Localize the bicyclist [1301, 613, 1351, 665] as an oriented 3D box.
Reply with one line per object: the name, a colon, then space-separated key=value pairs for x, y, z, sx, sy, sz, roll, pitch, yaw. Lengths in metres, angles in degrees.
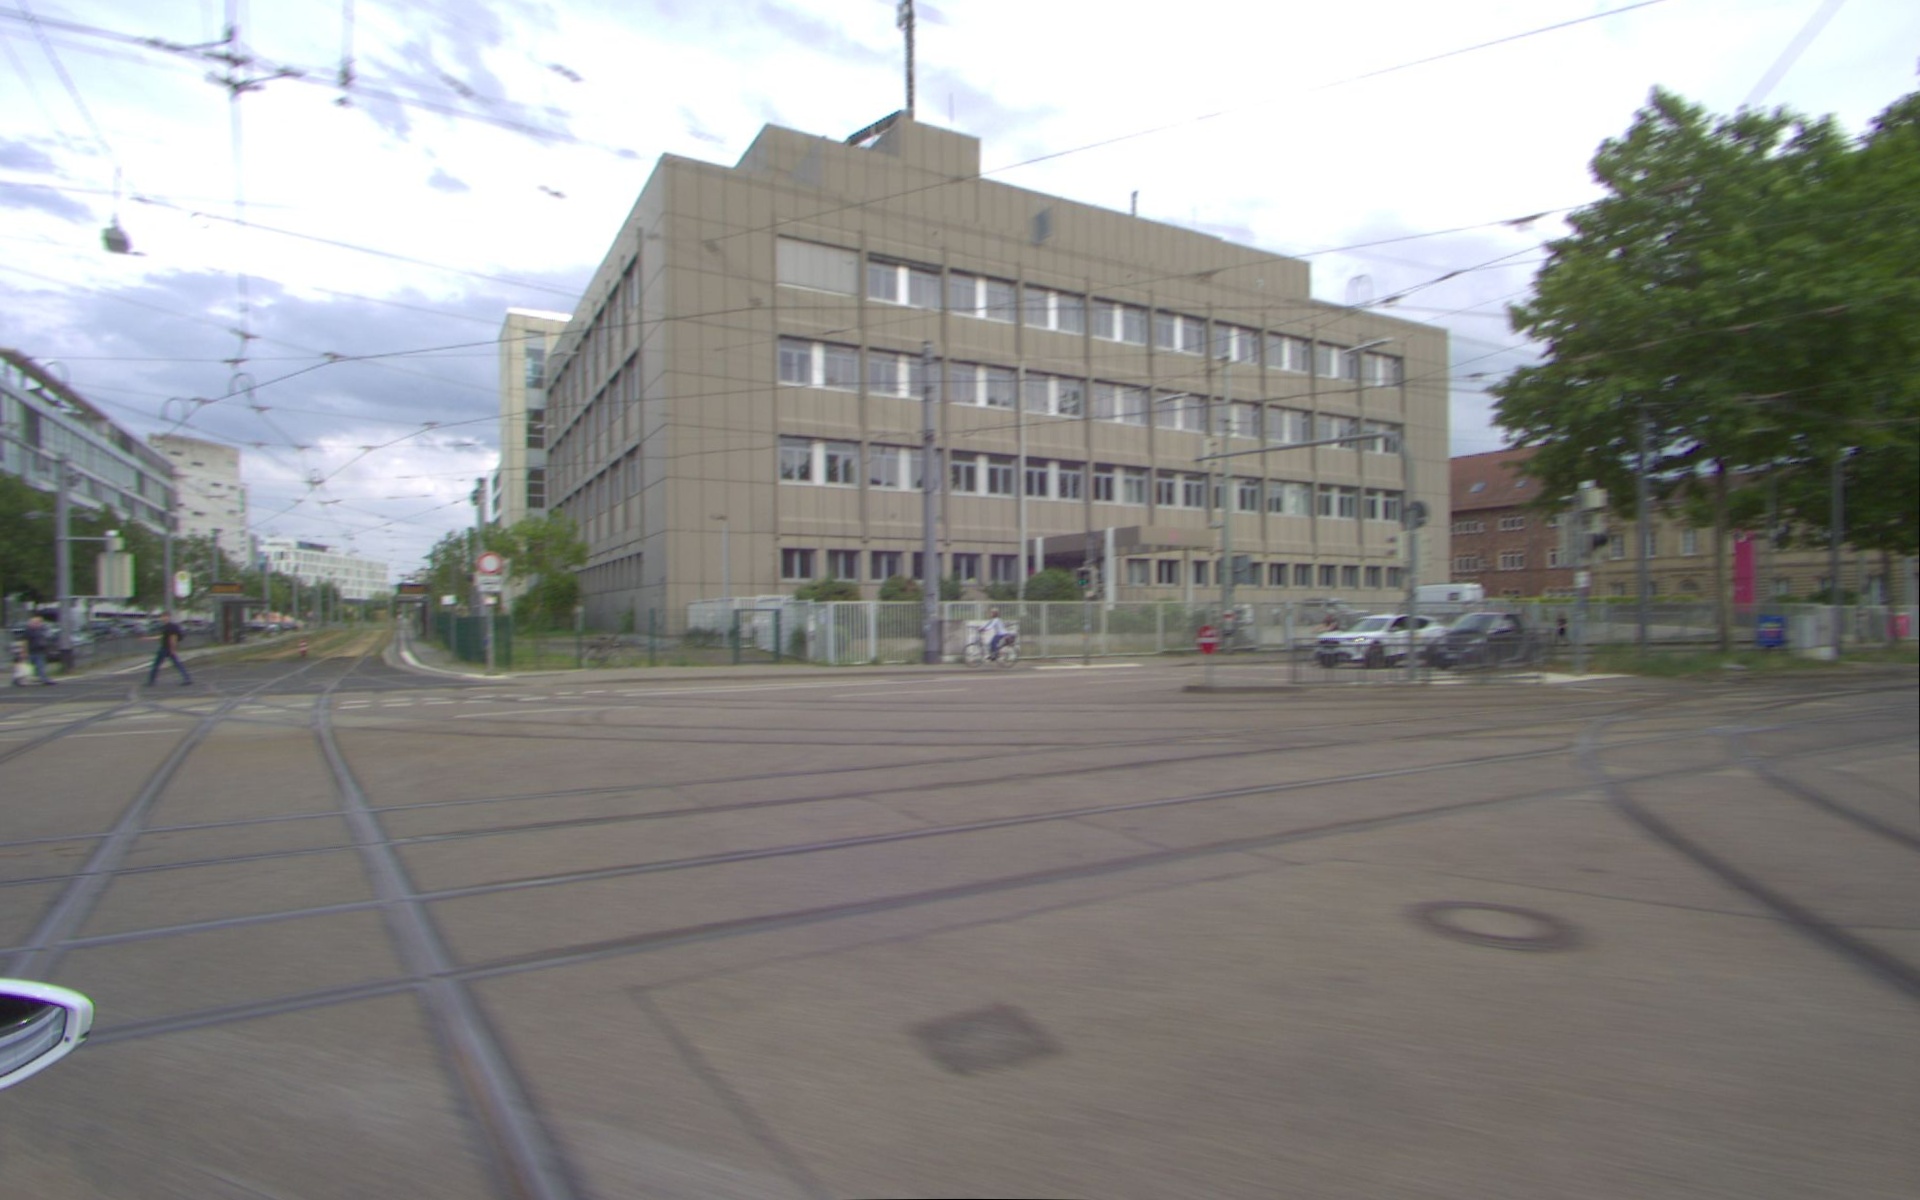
bicyclist: x=11.403 y=1.204 z=31.195 sx=1.308 sy=1.570 sz=0.799 roll=0 pitch=0 yaw=-27

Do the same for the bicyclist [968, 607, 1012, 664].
bicyclist: x=0.910 y=1.074 z=30.465 sx=1.160 sy=1.723 sz=0.802 roll=1 pitch=0 yaw=-12

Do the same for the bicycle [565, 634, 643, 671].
bicycle: x=-10.524 y=1.548 z=29.606 sx=2.119 sy=0.993 sz=0.634 roll=-3 pitch=-1 yaw=14

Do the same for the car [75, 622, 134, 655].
car: x=-44.475 y=1.976 z=52.135 sx=1.850 sy=1.626 sz=4.185 roll=0 pitch=-1 yaw=-34

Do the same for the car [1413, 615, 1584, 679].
car: x=14.385 y=1.200 z=26.740 sx=4.352 sy=1.587 sz=1.830 roll=0 pitch=-1 yaw=-26

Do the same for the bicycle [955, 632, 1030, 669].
bicycle: x=0.985 y=1.541 z=30.481 sx=2.144 sy=1.100 sz=0.802 roll=1 pitch=-1 yaw=-13

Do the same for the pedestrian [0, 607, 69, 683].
pedestrian: x=-23.343 y=1.113 z=25.264 sx=0.974 sy=1.880 sz=0.900 roll=0 pitch=0 yaw=-17

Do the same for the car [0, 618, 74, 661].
car: x=-37.456 y=1.556 z=40.525 sx=1.861 sy=1.649 sz=4.060 roll=0 pitch=-1 yaw=-34

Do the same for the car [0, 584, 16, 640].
car: x=-65.447 y=0.781 z=67.309 sx=1.967 sy=3.683 sz=4.485 roll=2 pitch=-2 yaw=-33

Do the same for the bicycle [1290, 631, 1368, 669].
bicycle: x=11.512 y=1.542 z=31.239 sx=2.523 sy=1.100 sz=0.799 roll=0 pitch=0 yaw=-27

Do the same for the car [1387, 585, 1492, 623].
car: x=31.613 y=0.310 z=66.192 sx=2.534 sy=2.430 sz=5.865 roll=0 pitch=-1 yaw=-32

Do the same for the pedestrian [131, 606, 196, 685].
pedestrian: x=-19.905 y=1.128 z=25.042 sx=1.072 sy=1.923 sz=0.898 roll=0 pitch=0 yaw=-25

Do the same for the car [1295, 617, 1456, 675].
car: x=11.910 y=1.260 z=28.653 sx=4.355 sy=1.524 sz=1.991 roll=0 pitch=-1 yaw=-29

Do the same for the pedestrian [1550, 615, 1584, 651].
pedestrian: x=26.822 y=1.457 z=44.254 sx=0.964 sy=1.590 sz=0.881 roll=0 pitch=0 yaw=-24

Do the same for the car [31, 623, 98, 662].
car: x=-40.152 y=1.868 z=44.979 sx=1.688 sy=1.626 sz=4.052 roll=0 pitch=-1 yaw=-34
